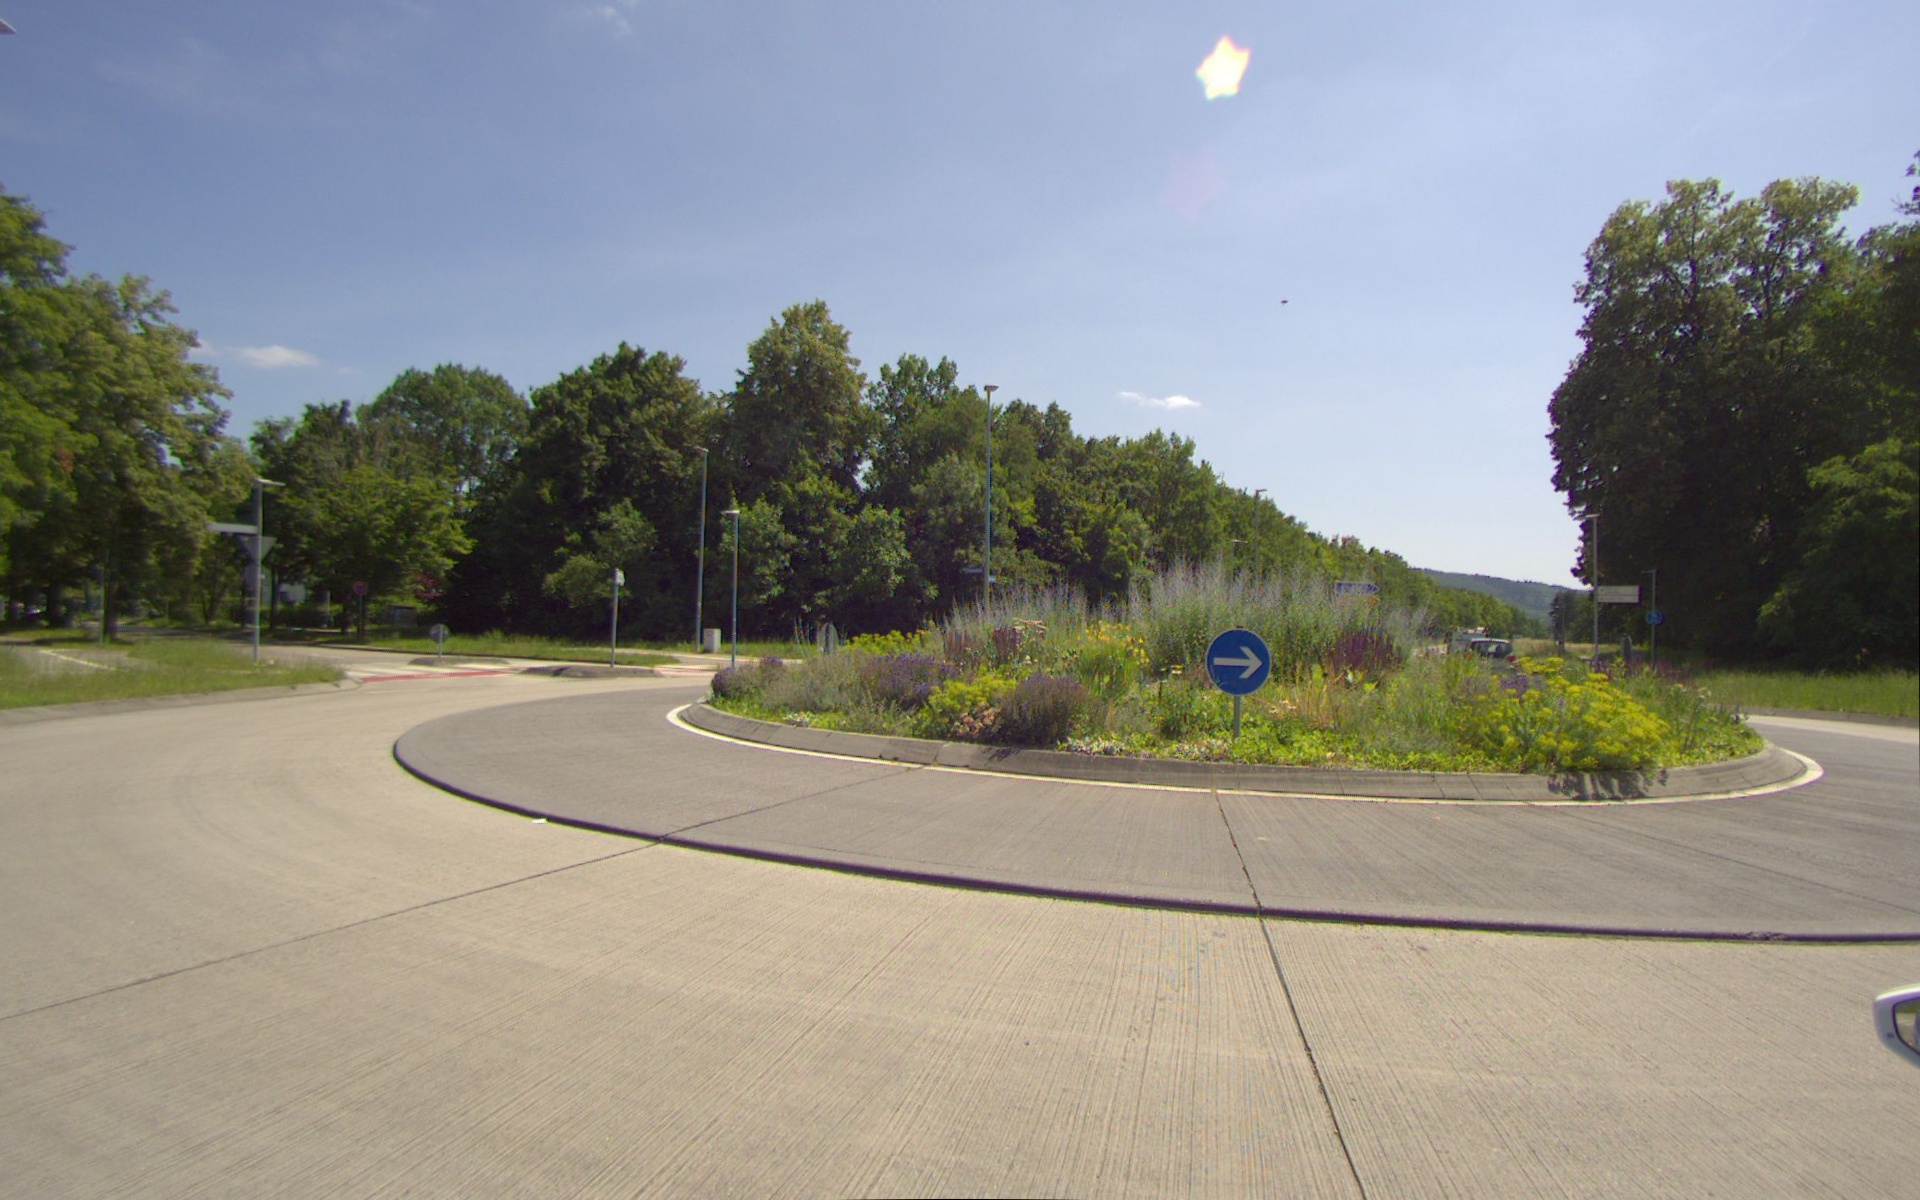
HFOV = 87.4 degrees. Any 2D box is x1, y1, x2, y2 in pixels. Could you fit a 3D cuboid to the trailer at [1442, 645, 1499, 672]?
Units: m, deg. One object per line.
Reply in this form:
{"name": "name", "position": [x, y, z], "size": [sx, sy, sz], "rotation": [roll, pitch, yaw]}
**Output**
{"name": "trailer", "position": [24.322, 2.761, 47.971], "size": [2.087, 1.112, 3.354], "rotation": [2, -1, 21]}

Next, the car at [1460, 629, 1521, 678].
{"name": "car", "position": [19.289, 1.919, 36.656], "size": [1.757, 1.628, 4.124], "rotation": [2, -1, 25]}

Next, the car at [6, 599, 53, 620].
{"name": "car", "position": [-83.173, 0.850, 89.765], "size": [3.930, 1.654, 1.996], "rotation": [2, -1, 31]}

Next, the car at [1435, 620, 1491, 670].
{"name": "car", "position": [25.886, 2.296, 51.833], "size": [2.131, 2.347, 4.980], "rotation": [2, -1, 23]}
